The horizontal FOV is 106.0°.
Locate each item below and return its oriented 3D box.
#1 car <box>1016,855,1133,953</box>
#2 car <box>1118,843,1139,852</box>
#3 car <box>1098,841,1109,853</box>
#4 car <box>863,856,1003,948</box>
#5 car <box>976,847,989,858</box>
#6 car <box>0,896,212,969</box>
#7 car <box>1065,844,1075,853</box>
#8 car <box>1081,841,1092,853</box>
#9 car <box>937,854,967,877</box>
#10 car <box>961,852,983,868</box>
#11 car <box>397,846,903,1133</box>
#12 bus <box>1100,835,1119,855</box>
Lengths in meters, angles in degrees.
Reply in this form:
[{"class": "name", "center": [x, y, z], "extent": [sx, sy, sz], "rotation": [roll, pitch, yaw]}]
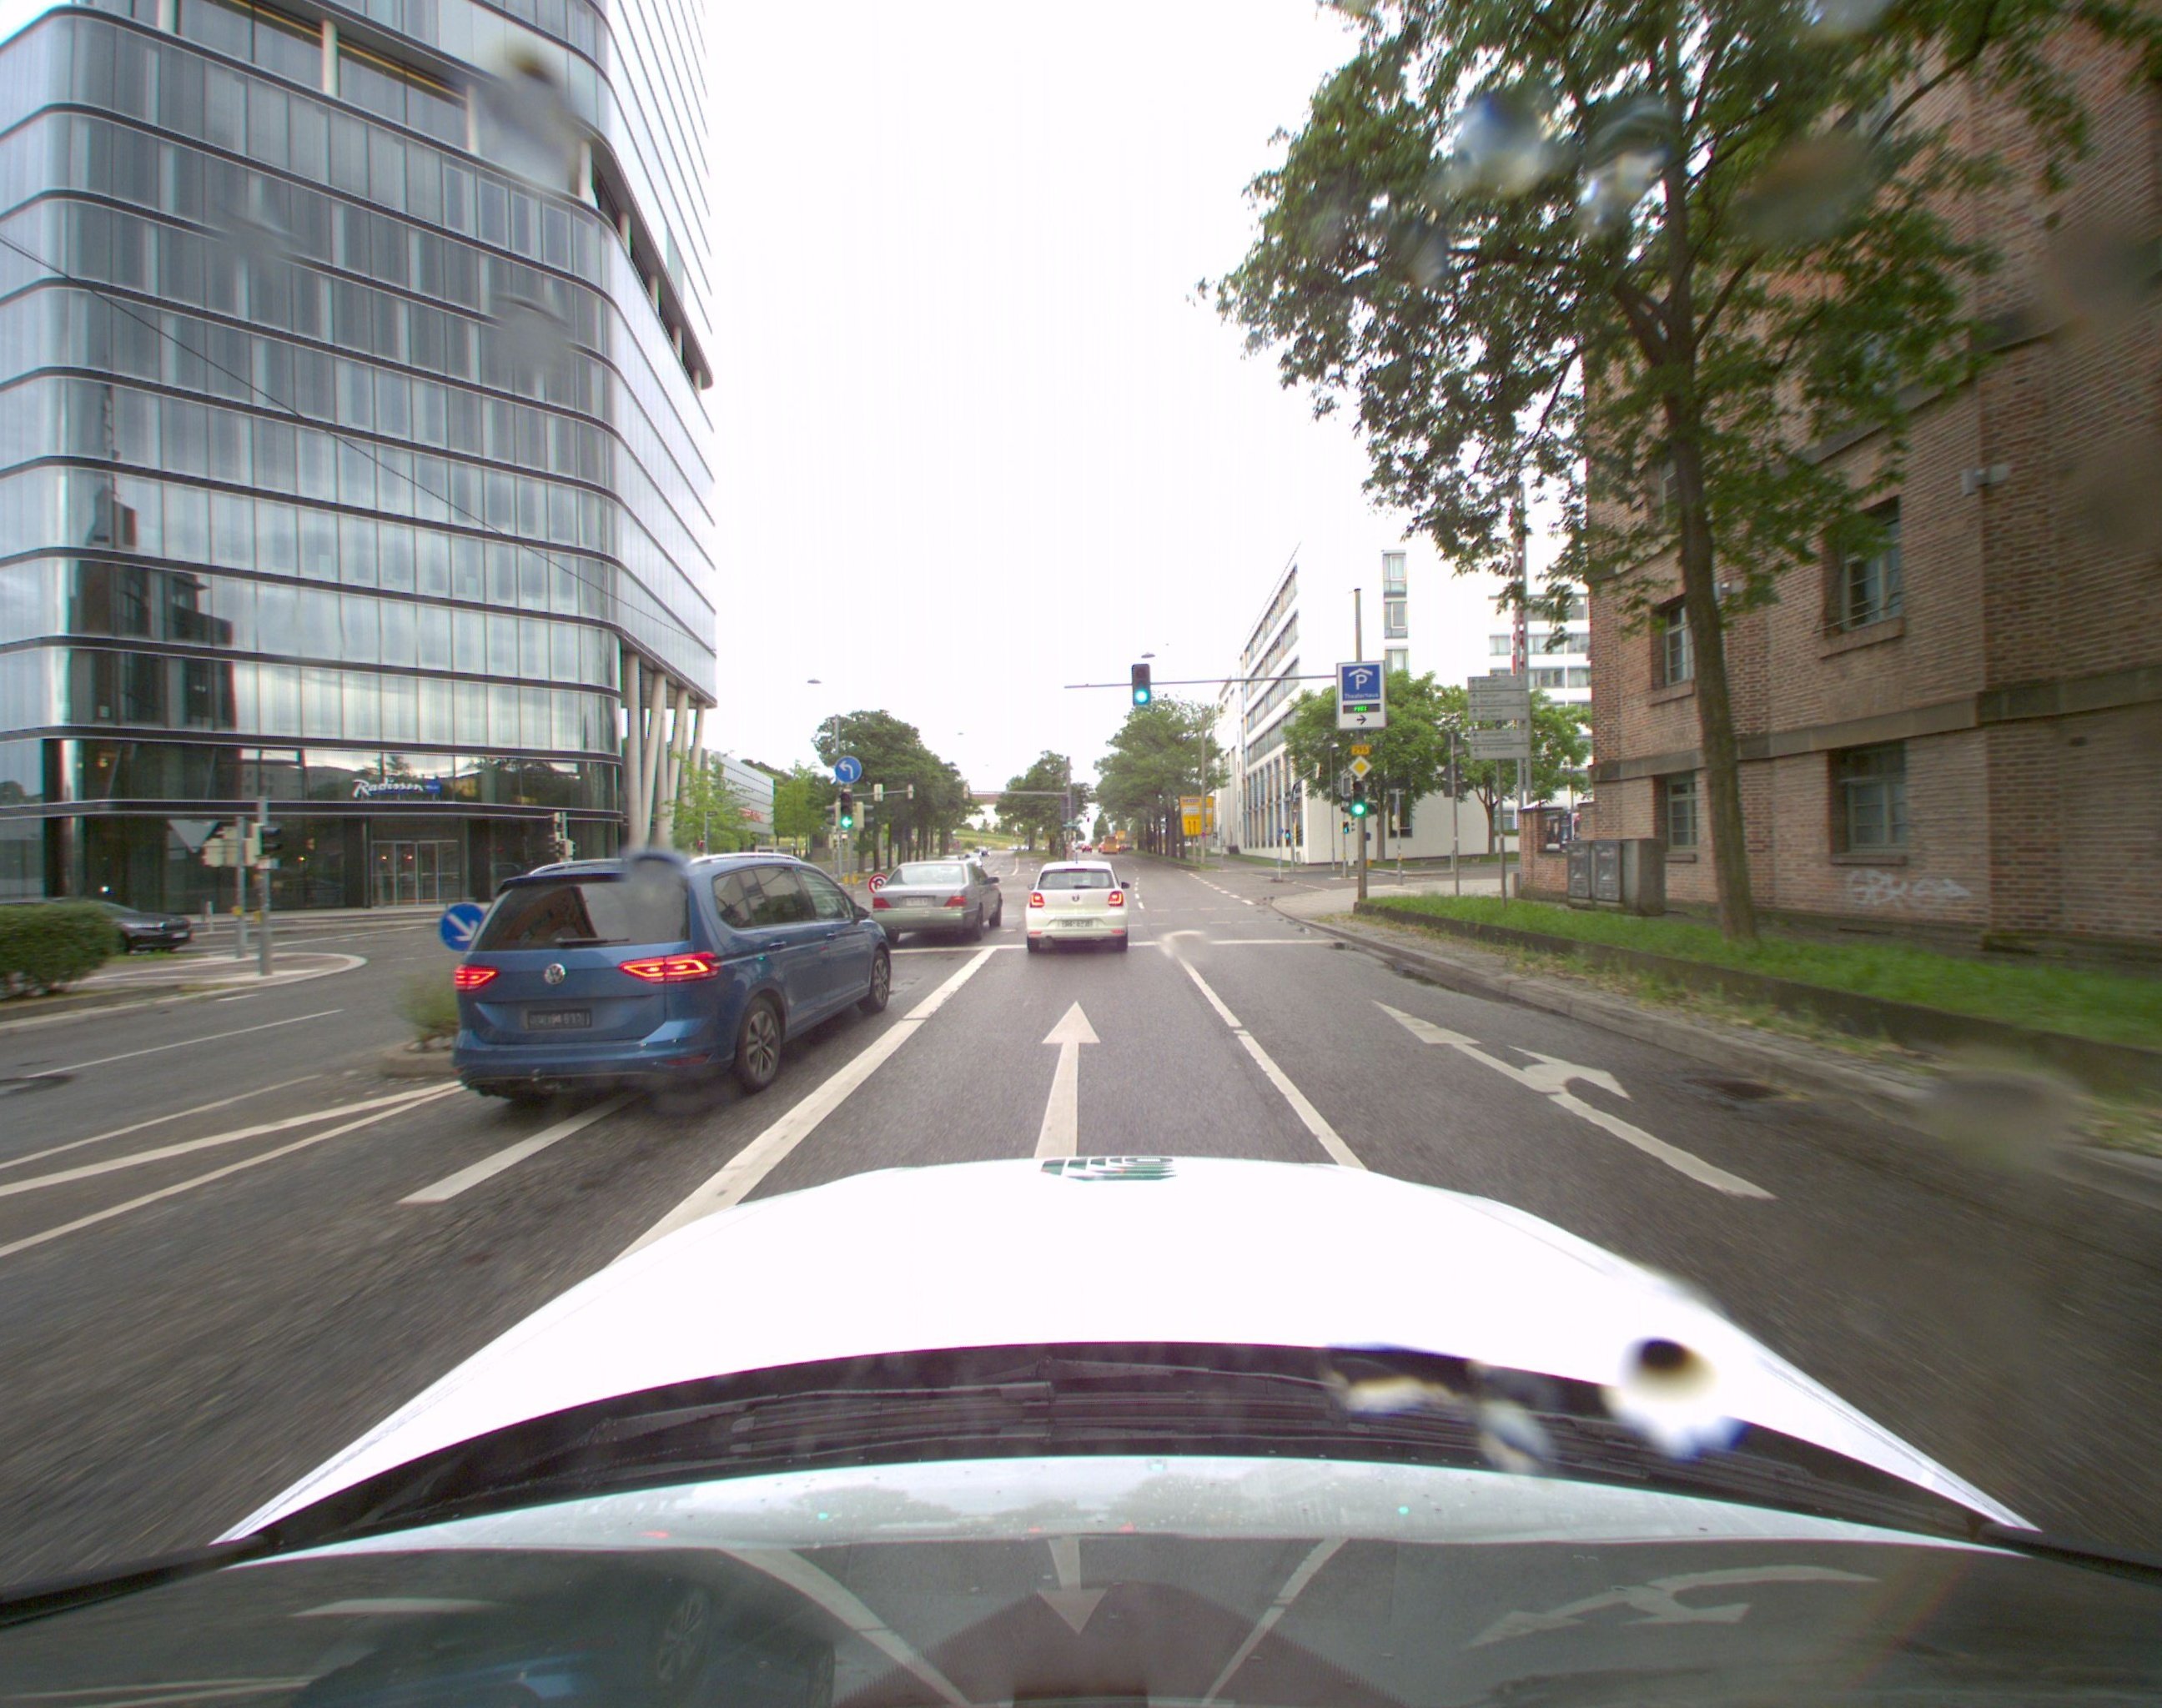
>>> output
[{"class": "car", "center": [-0.074, 0.775, 14.613], "extent": [1.788, 1.502, 4.000], "rotation": [-1, 0, 1]}, {"class": "car", "center": [8.811, -1.198, 151.468], "extent": [1.679, 1.515, 3.850], "rotation": [-2, 0, 44]}, {"class": "car", "center": [4.173, -1.312, 152.919], "extent": [1.987, 2.013, 3.999], "rotation": [-1, 0, 0]}, {"class": "car", "center": [-2.742, 0.831, 16.042], "extent": [1.840, 1.510, 4.050], "rotation": [-2, 0, 2]}, {"class": "car", "center": [-16.783, -0.250, 139.115], "extent": [1.990, 1.615, 5.113], "rotation": [-3, 1, -4]}, {"class": "car", "center": [-25.747, 1.998, 20.825], "extent": [4.373, 1.510, 1.845], "rotation": [-3, 1, -20]}, {"class": "car", "center": [-2.050, -1.022, 153.284], "extent": [1.789, 1.741, 3.998], "rotation": [-2, 0, -1]}, {"class": "car", "center": [1.078, -1.282, 151.801], "extent": [1.987, 2.013, 3.999], "rotation": [-1, 0, 0]}, {"class": "car", "center": [-9.412, 0.813, 59.691], "extent": [1.746, 1.520, 3.813], "rotation": [-2, 1, -3]}, {"class": "car", "center": [-11.031, 0.583, 82.545], "extent": [1.810, 1.411, 4.650], "rotation": [-3, 1, -3]}, {"class": "car", "center": [-2.953, 0.787, 6.787], "extent": [1.765, 1.596, 4.200], "rotation": [-2, 0, 3]}, {"class": "bus", "center": [4.825, -1.607, 139.186], "extent": [2.819, 3.266, 9.998], "rotation": [-1, 1, 0]}]
